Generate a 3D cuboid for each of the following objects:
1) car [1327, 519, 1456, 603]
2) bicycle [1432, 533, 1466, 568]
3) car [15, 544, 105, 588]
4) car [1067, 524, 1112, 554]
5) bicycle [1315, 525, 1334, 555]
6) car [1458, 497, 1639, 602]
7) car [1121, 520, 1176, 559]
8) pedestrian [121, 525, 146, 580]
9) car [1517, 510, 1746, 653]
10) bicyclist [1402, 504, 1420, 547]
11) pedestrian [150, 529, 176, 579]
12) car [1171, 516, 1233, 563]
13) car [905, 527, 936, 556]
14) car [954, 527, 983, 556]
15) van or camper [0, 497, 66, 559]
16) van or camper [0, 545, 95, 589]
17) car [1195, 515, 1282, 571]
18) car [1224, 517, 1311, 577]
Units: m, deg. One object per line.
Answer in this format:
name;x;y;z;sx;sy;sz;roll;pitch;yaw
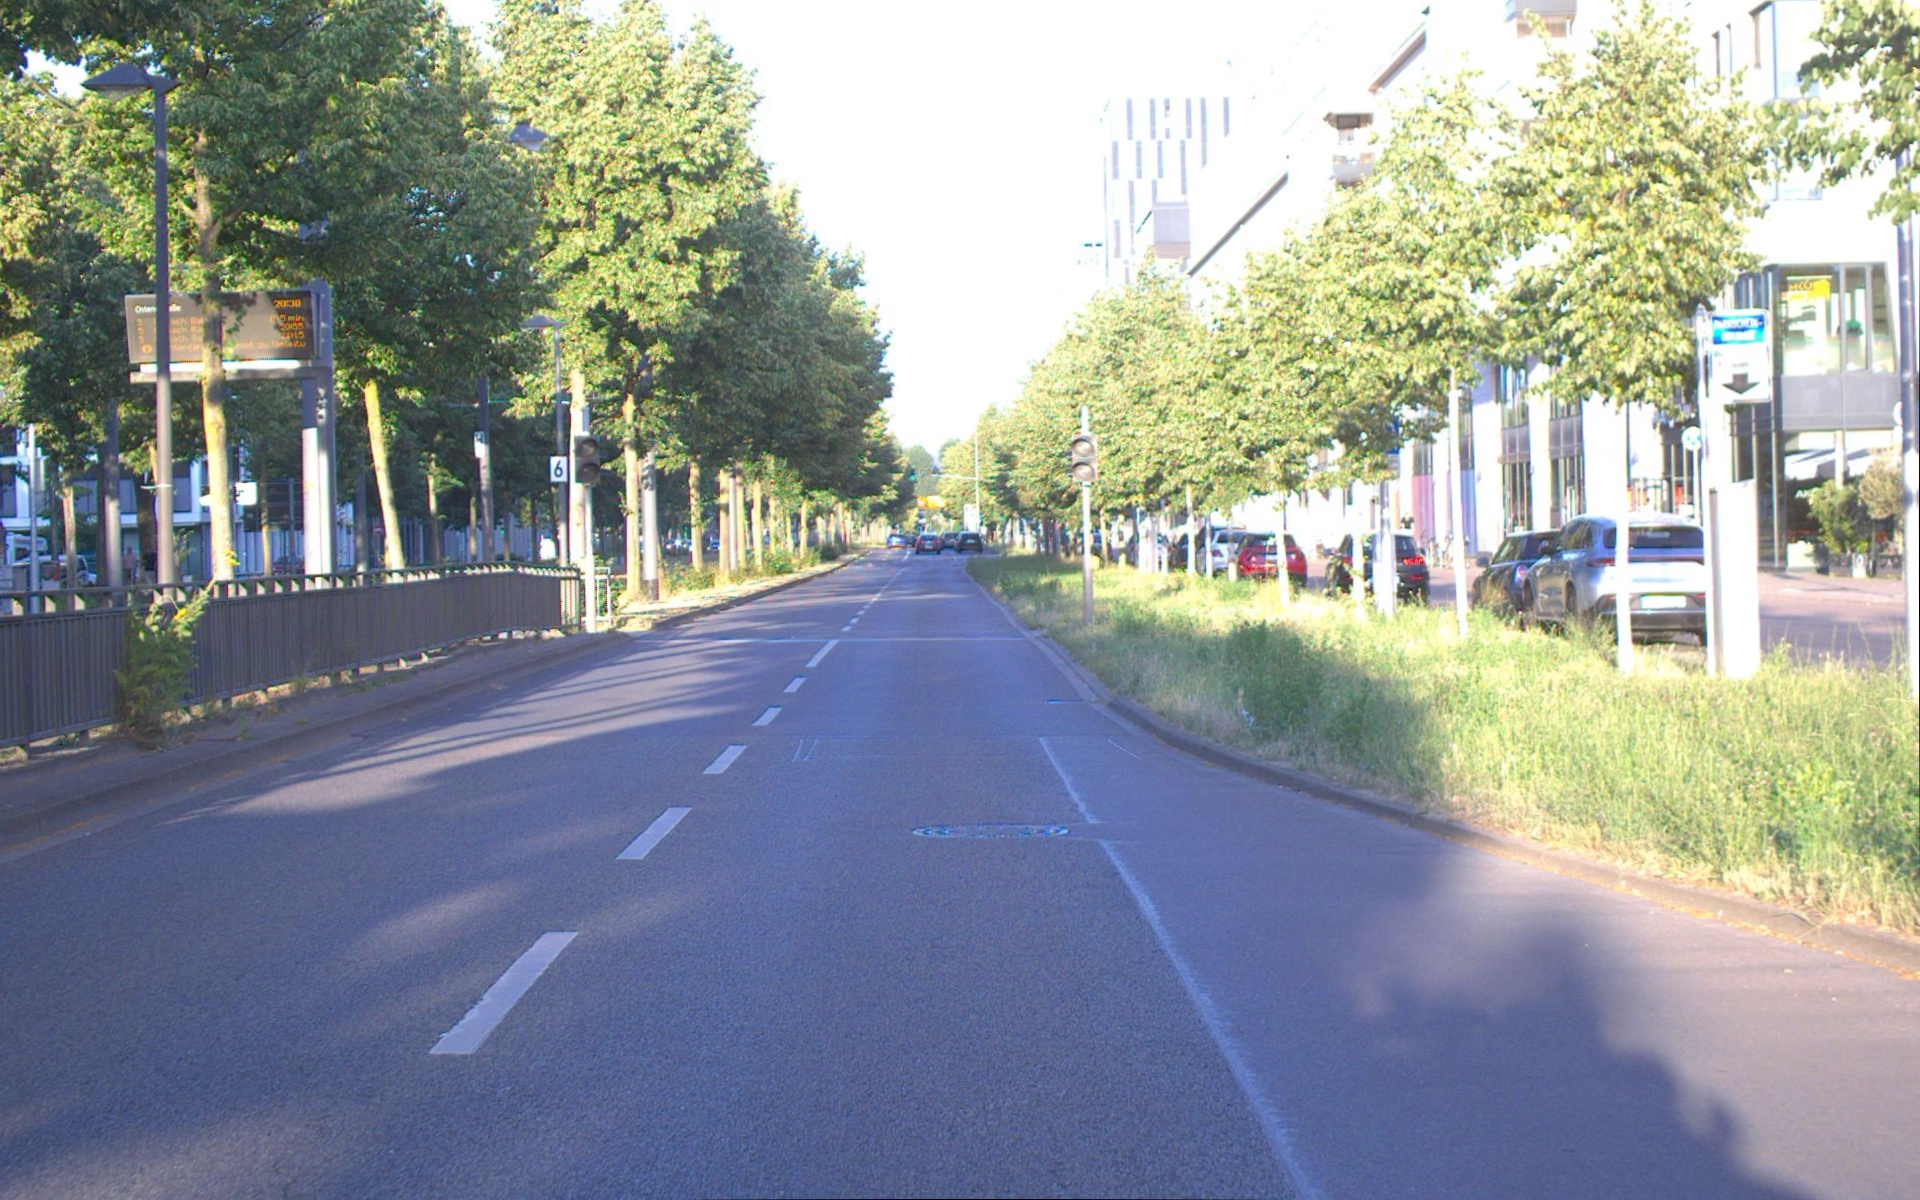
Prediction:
car;8.159;-0.764;65.298;1.808;1.495;4.369;-1;1;-1
bicycle;14.618;-1.479;102.751;0.620;1.029;2.261;-1;1;-2
car;-32.203;-1.224;123.079;1.994;1.481;4.000;-1;1;3
car;6.834;-3.214;181.791;1.943;1.543;4.812;-1;1;-2
bicycle;14.978;-2.467;141.319;0.538;1.160;1.781;-3;1;0
car;8.124;-0.717;47.792;1.749;1.393;4.000;0;1;-1
car;7.528;-2.419;137.696;1.808;1.495;4.826;-1;1;-1
pedestrian;-28.792;-1.653;119.779;0.693;1.864;0.866;-1;1;-8
car;8.210;-0.273;42.433;1.808;1.626;4.676;-1;1;-1
bicyclist;16.243;-2.682;123.751;0.544;1.563;1.020;-1;1;3
pedestrian;-27.872;-1.609;120.242;0.693;1.737;0.866;-1;1;-2
car;7.843;-1.968;111.606;1.724;1.495;4.233;0;1;0
car;-2.809;-4.162;243.414;2.087;2.007;4.000;-1;1;-1
car;0.597;-4.247;248.058;1.993;2.007;4.000;-1;1;-1
van or camper;-47.785;-3.671;174.762;2.710;3.074;6.262;-1;1;3
van or camper;-39.540;-1.431;148.581;3.986;1.785;2.001;-2;1;-10
car;7.812;-1.626;96.880;1.920;1.495;5.010;-1;1;-1
car;7.931;-1.390;88.965;1.808;1.495;3.960;-1;1;-1
